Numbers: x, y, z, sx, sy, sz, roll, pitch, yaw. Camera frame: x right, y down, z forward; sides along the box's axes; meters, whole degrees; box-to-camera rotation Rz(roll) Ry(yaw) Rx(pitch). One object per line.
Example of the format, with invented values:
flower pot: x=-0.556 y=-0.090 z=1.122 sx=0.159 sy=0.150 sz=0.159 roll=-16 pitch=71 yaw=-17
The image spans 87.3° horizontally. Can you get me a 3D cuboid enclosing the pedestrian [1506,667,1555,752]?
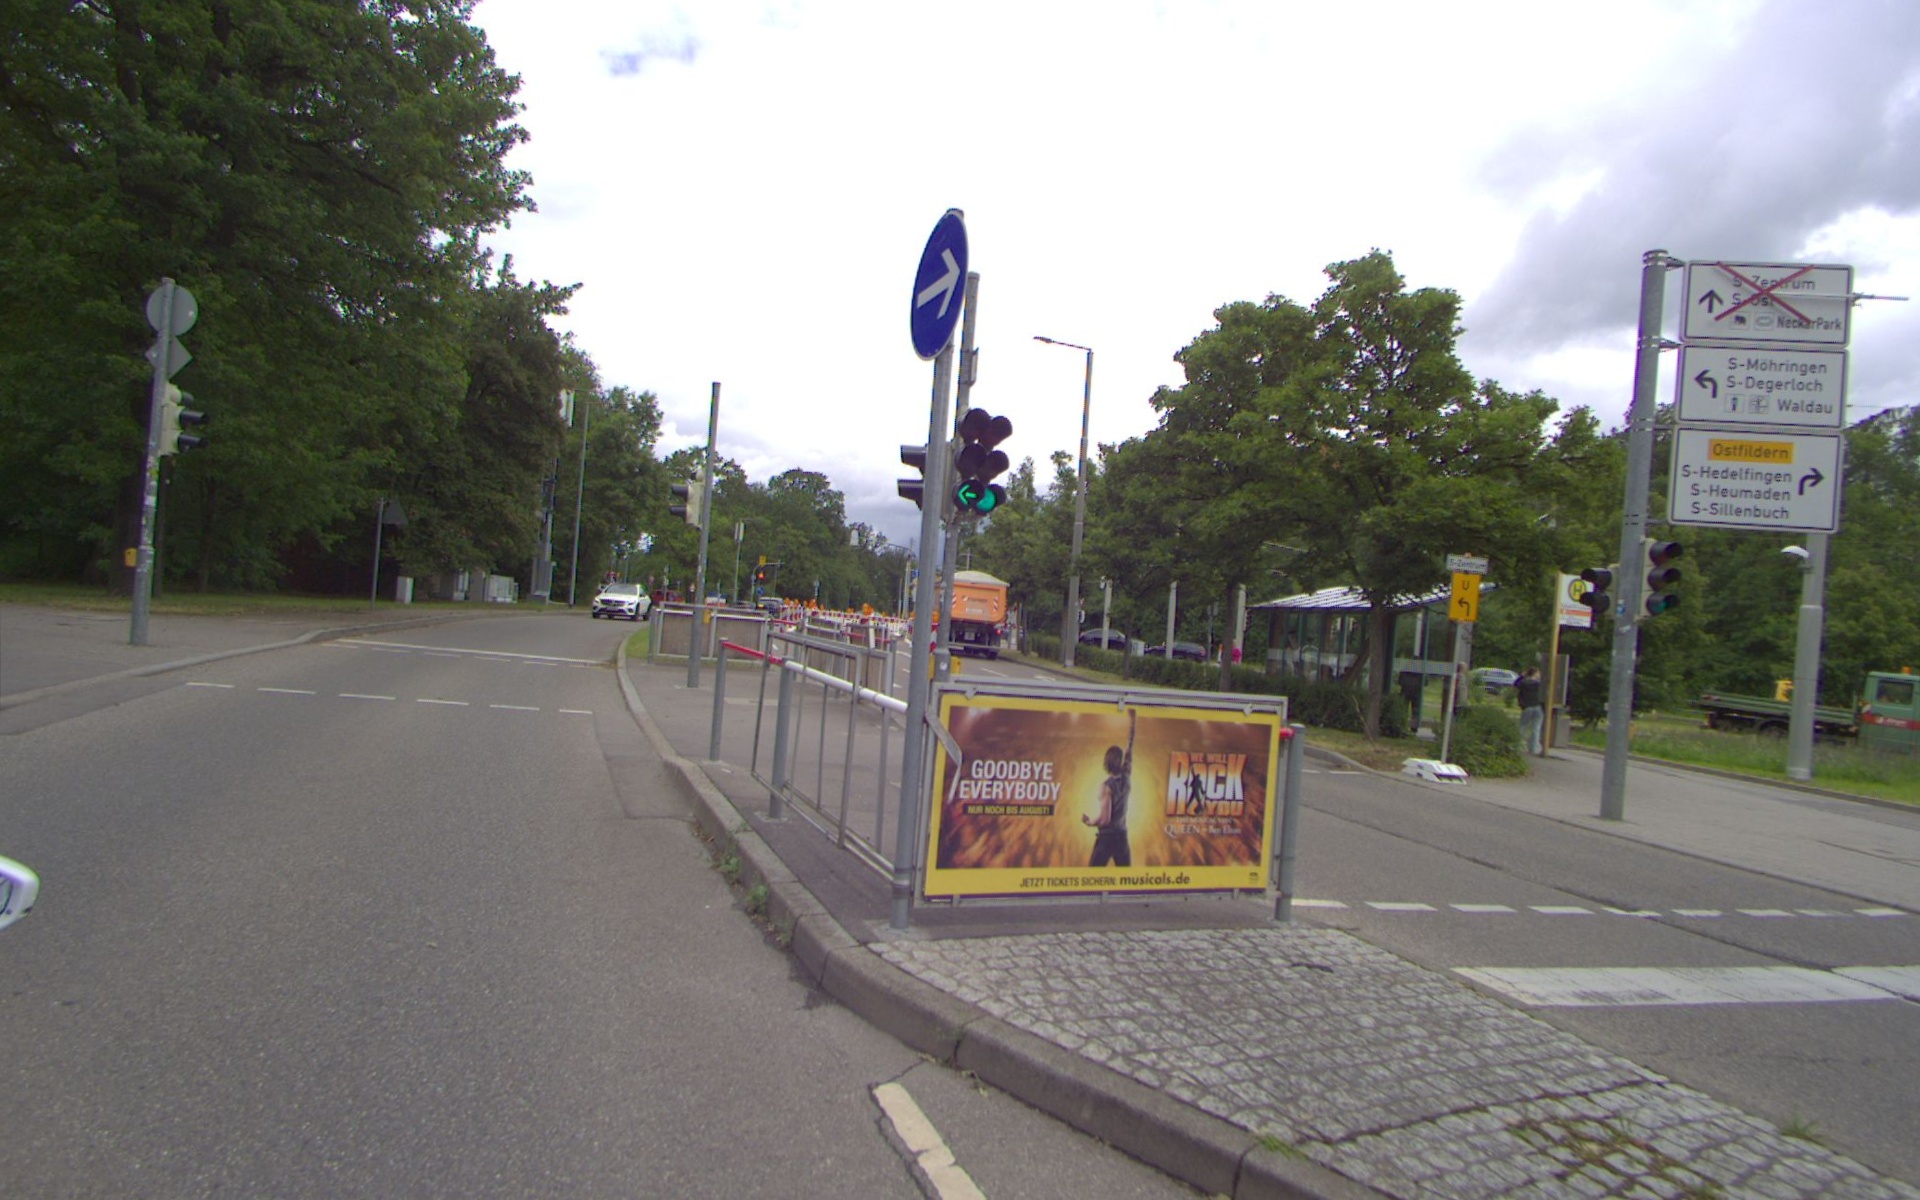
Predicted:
pedestrian: x=10.834 y=2.083 z=19.115 sx=0.517 sy=1.534 sz=0.476 roll=7 pitch=-1 yaw=-29

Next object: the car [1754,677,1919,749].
car: x=41.086 y=5.235 z=46.850 sx=6.049 sy=2.523 sz=1.996 roll=5 pitch=-1 yaw=33

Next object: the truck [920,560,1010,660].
truck: x=0.023 y=0.380 z=42.097 sx=2.816 sy=3.559 sz=8.241 roll=5 pitch=0 yaw=-5

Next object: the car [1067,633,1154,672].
car: x=10.225 y=3.574 z=68.582 sx=5.348 sy=2.037 sz=1.996 roll=5 pitch=-2 yaw=33

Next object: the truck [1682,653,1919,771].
truck: x=22.730 y=2.935 z=25.810 sx=6.458 sy=2.379 sz=2.395 roll=5 pitch=-2 yaw=43

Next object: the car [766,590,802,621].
car: x=-11.560 y=0.380 z=66.127 sx=1.769 sy=1.758 sz=3.703 roll=7 pitch=-2 yaw=-4

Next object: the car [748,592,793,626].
car: x=-11.045 y=0.562 z=58.842 sx=1.964 sy=1.737 sz=4.000 roll=7 pitch=-2 yaw=-4

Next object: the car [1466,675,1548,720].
car: x=31.783 y=5.662 z=58.492 sx=3.935 sy=2.037 sz=1.996 roll=5 pitch=-2 yaw=33

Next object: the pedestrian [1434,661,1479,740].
pedestrian: x=10.211 y=2.064 z=20.691 sx=0.517 sy=1.534 sz=0.476 roll=7 pitch=-1 yaw=-29

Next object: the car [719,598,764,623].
car: x=-21.639 y=1.043 z=99.727 sx=3.935 sy=1.904 sz=1.996 roll=6 pitch=-2 yaw=32

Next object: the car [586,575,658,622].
car: x=-14.946 y=-0.012 z=44.697 sx=1.965 sy=1.770 sz=4.576 roll=7 pitch=-2 yaw=-7

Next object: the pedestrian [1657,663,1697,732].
pedestrian: x=34.104 y=4.640 z=47.835 sx=1.019 sy=3.080 sz=1.102 roll=7 pitch=-1 yaw=-40
